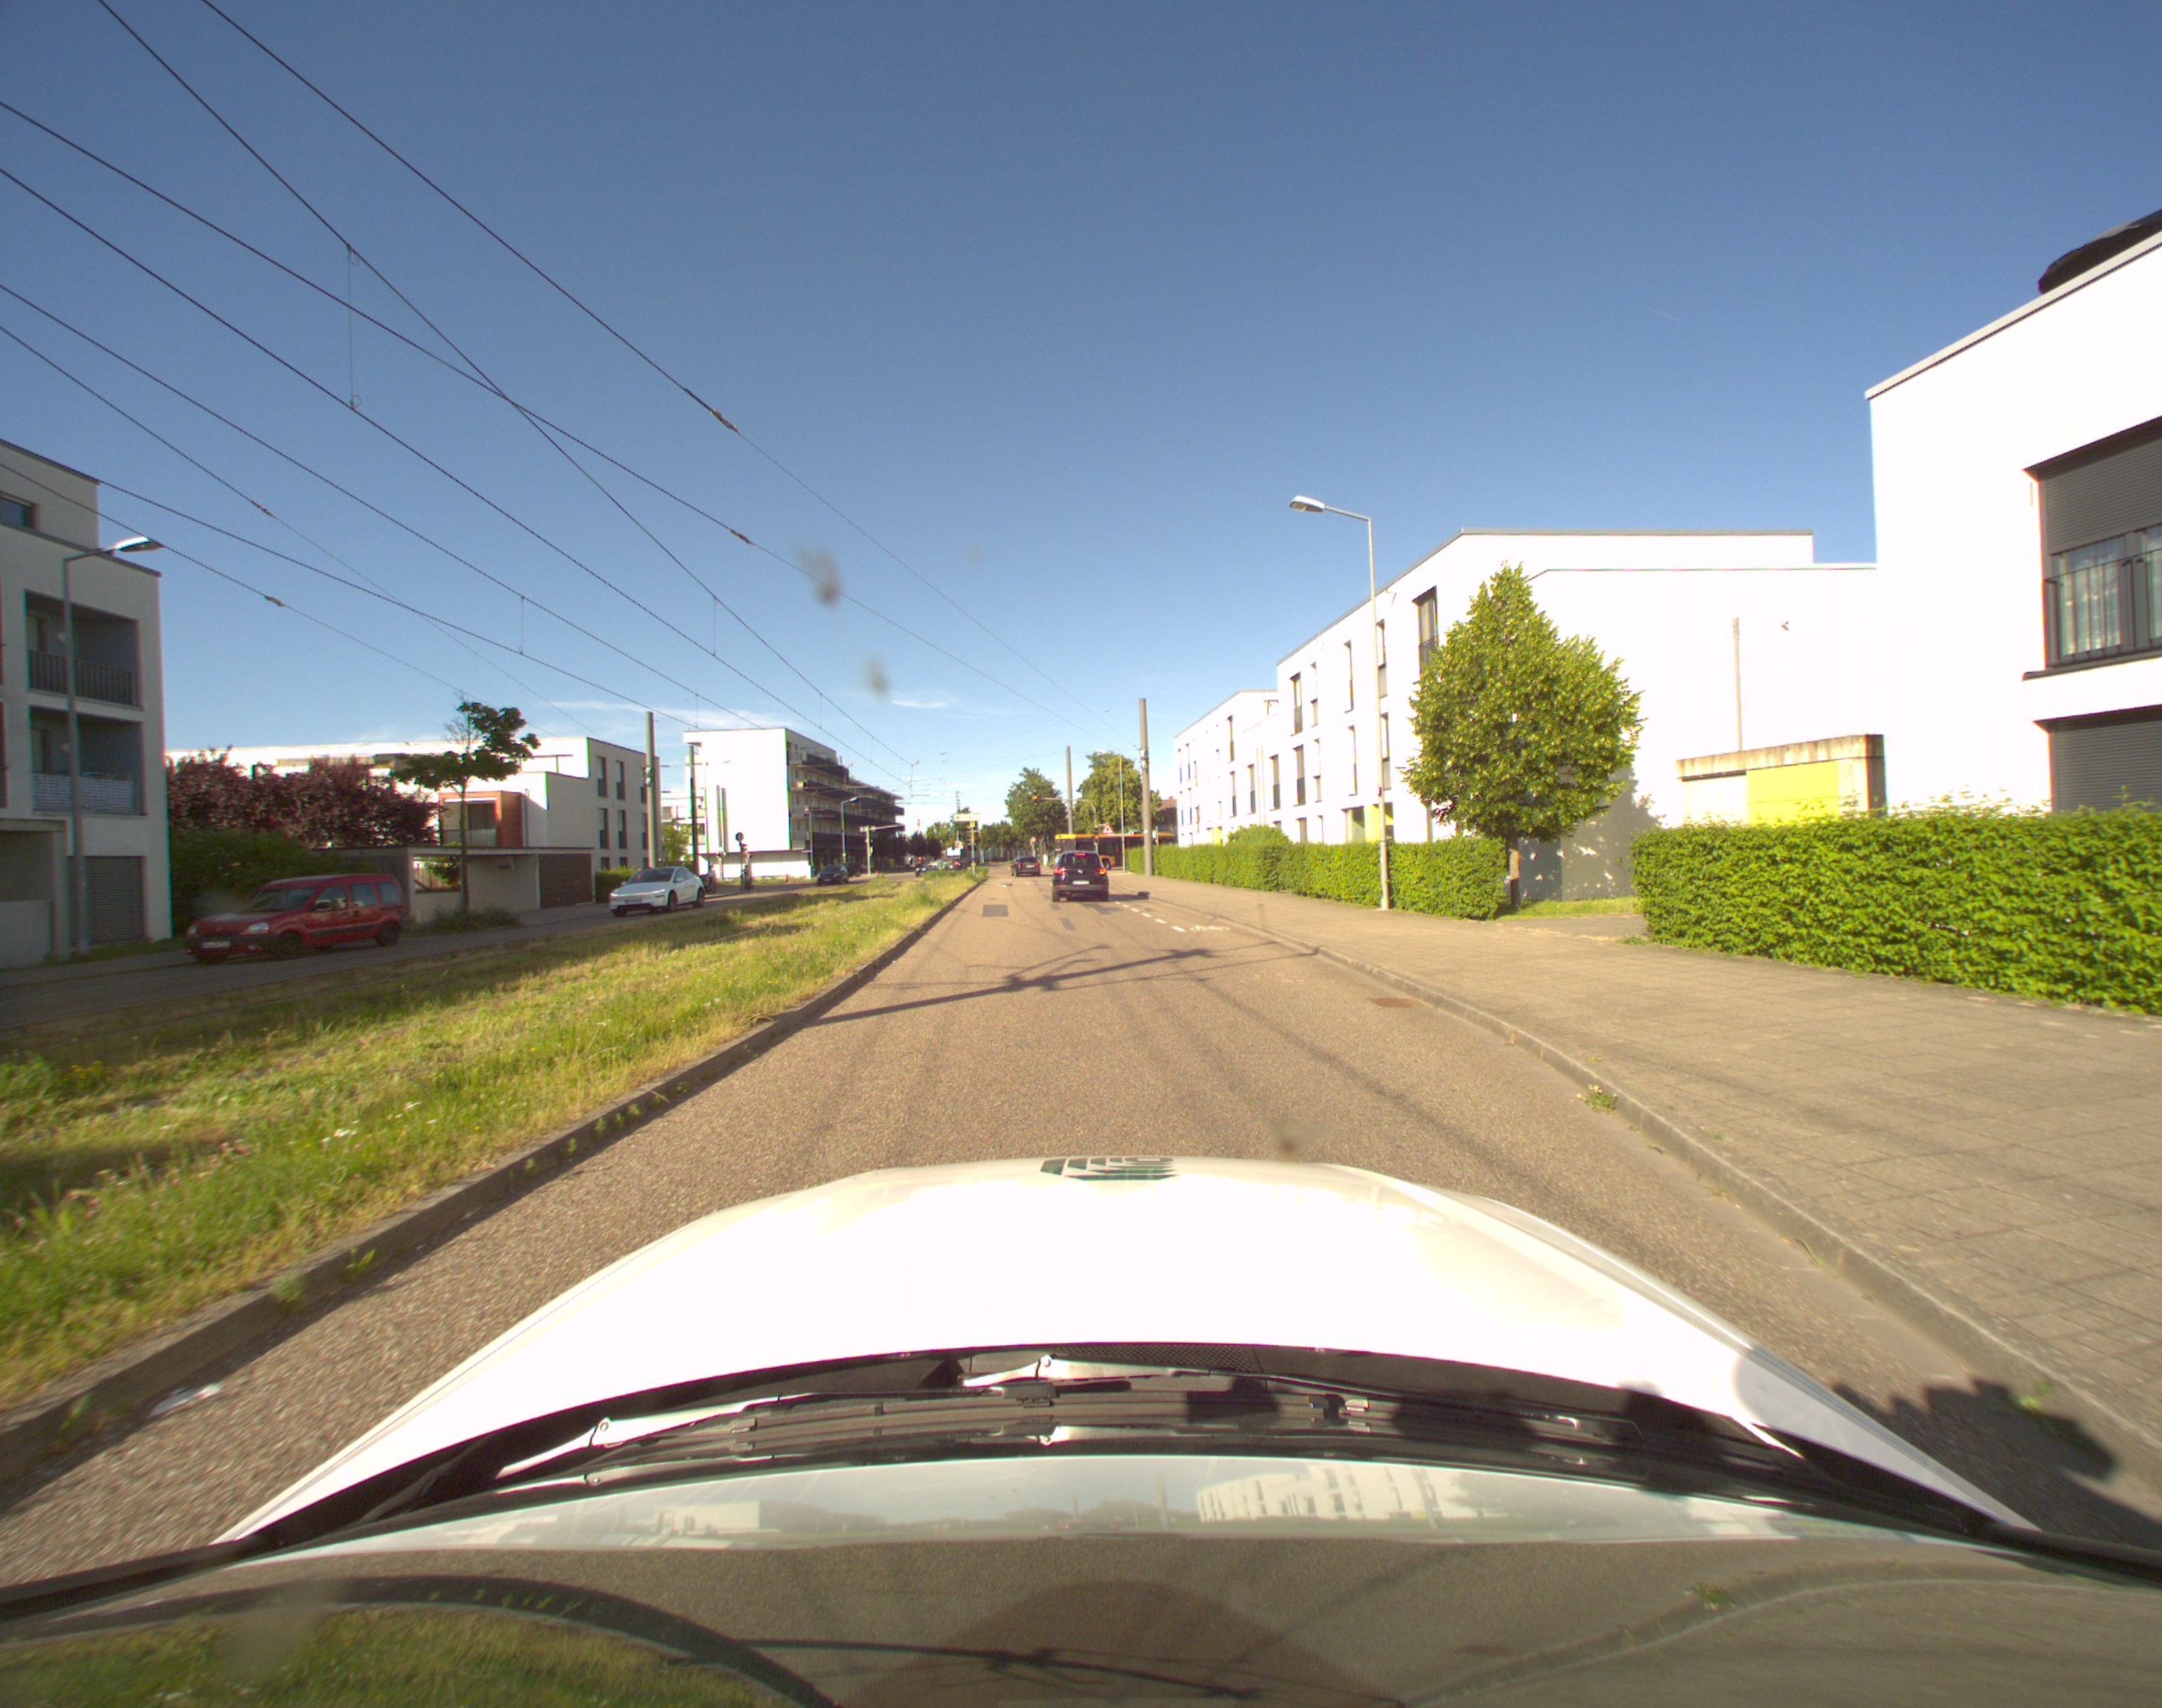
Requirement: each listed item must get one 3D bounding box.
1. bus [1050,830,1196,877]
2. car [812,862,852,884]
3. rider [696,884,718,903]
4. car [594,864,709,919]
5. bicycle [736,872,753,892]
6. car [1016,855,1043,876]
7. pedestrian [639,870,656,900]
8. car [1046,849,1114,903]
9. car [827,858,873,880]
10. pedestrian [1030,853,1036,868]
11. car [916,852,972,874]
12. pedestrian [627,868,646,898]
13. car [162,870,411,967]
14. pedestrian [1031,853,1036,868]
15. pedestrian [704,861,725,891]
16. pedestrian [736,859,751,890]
[{"bbox_3d":[3.906,-0.123,68.918,14.765,3.671,2.813,-1,0,-43],"label":"bus"},{"bbox_3d":[-18.125,1.374,59.420,1.784,1.418,3.995,-4,0,-4],"label":"car"},{"bbox_3d":[-21.723,2.301,47.326,0.775,1.003,1.045,-1,0,1],"label":"rider"},{"bbox_3d":[-15.226,1.271,29.199,1.991,1.596,4.636,-4,1,-6],"label":"car"},{"bbox_3d":[-22.155,1.830,53.665,0.796,1.221,2.687,-1,0,-17],"label":"bicycle"},{"bbox_3d":[-3.719,0.800,58.256,1.748,1.387,3.993,-1,0,-5],"label":"car"},{"bbox_3d":[-21.597,1.552,40.575,0.556,1.464,0.611,-1,0,-3],"label":"pedestrian"},{"bbox_3d":[-0.114,0.676,27.439,1.903,1.643,3.993,-1,0,-5],"label":"car"},{"bbox_3d":[-23.743,1.510,83.826,1.974,2.013,4.026,-3,0,39],"label":"car"},{"bbox_3d":[-5.516,0.762,93.686,0.601,1.640,0.529,-1,0,0],"label":"pedestrian"},{"bbox_3d":[-10.426,0.672,62.025,3.703,1.430,1.715,-4,1,12],"label":"car"},{"bbox_3d":[-22.153,1.438,40.578,0.556,1.464,0.742,-1,0,-2],"label":"pedestrian"},{"bbox_3d":[-17.391,1.317,18.138,1.877,1.795,3.832,-1,0,-4],"label":"car"},{"bbox_3d":[-5.489,0.760,94.232,0.601,1.640,0.529,-1,0,0],"label":"pedestrian"},{"bbox_3d":[-21.732,1.311,48.315,0.812,1.748,0.910,-1,0,1],"label":"pedestrian"},{"bbox_3d":[-21.969,1.345,53.015,0.763,2.013,0.665,-1,0,-18],"label":"pedestrian"}]
